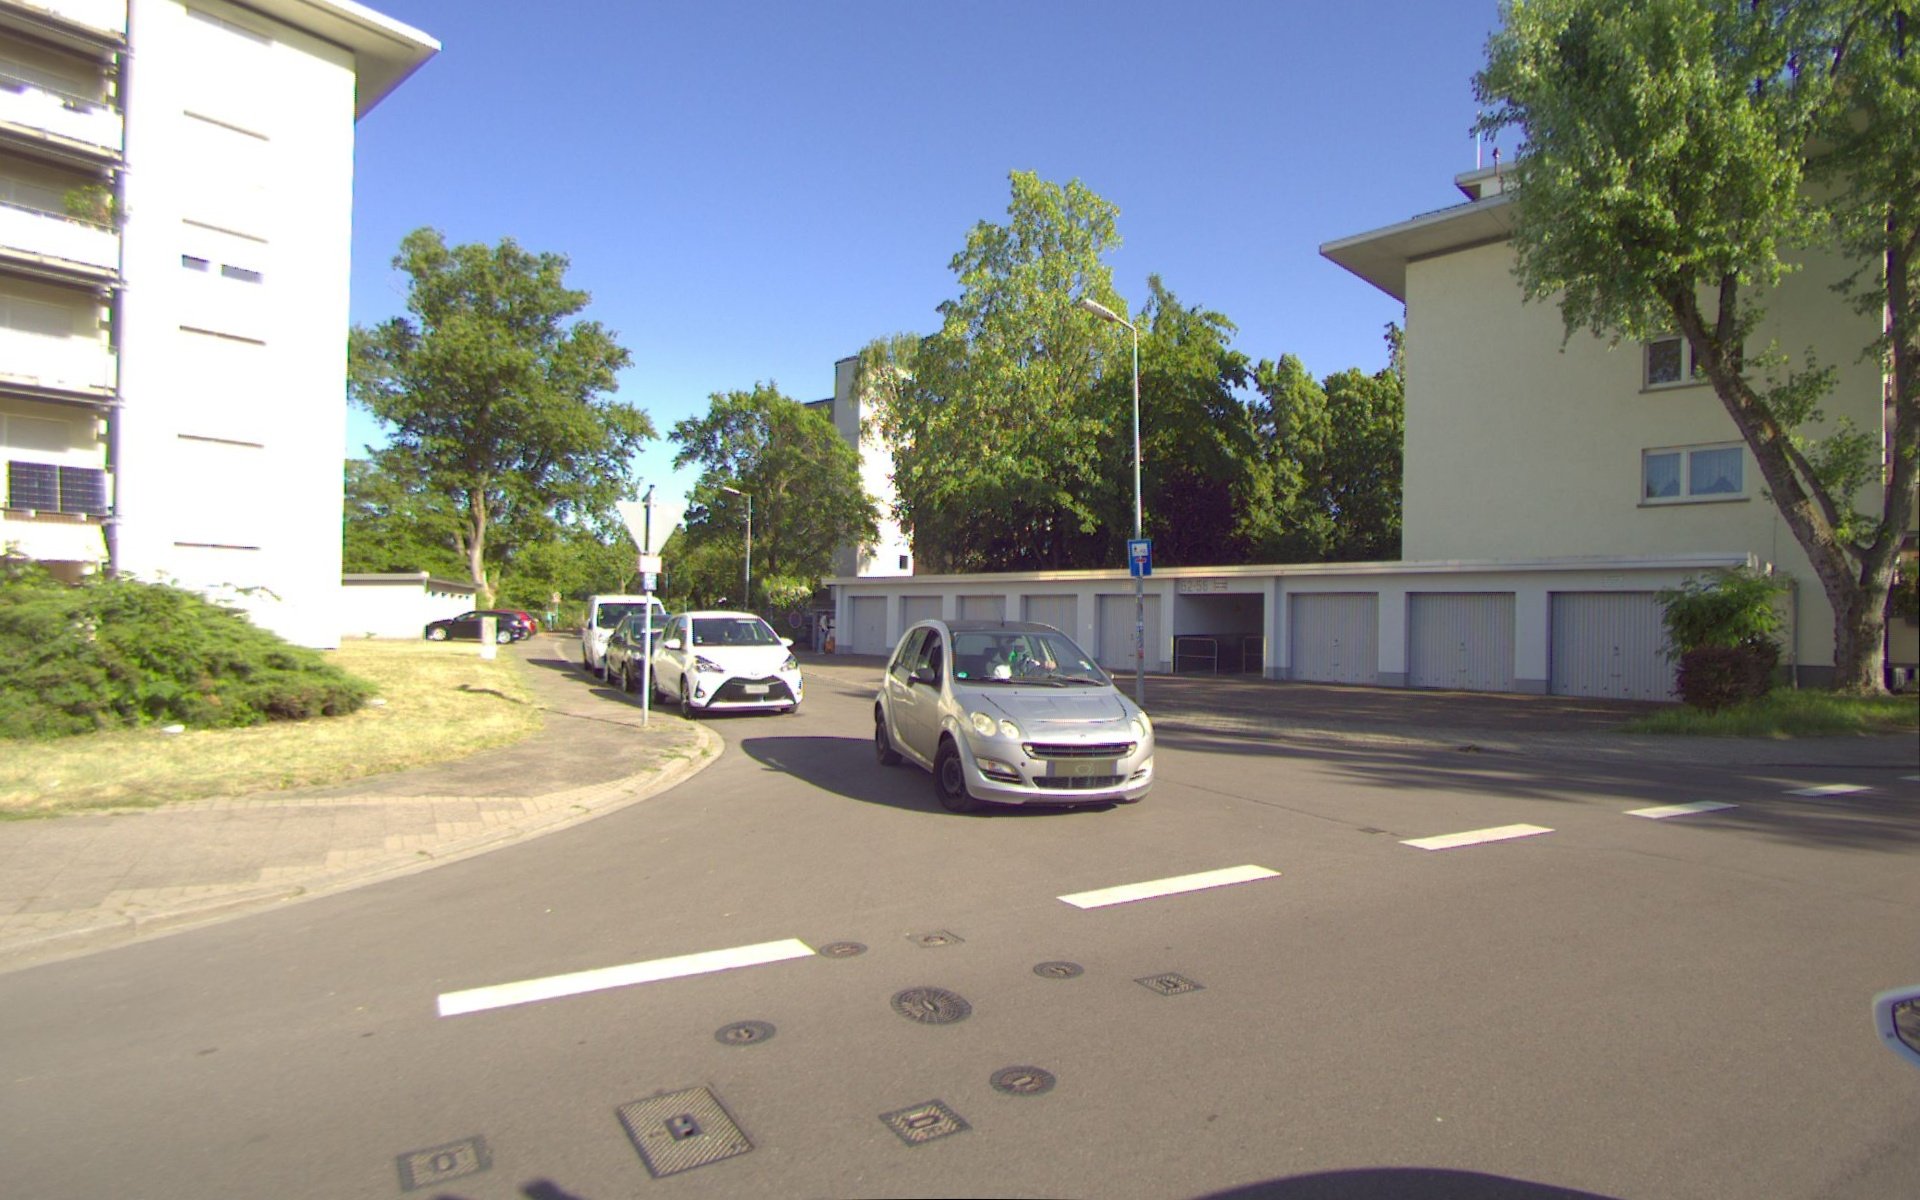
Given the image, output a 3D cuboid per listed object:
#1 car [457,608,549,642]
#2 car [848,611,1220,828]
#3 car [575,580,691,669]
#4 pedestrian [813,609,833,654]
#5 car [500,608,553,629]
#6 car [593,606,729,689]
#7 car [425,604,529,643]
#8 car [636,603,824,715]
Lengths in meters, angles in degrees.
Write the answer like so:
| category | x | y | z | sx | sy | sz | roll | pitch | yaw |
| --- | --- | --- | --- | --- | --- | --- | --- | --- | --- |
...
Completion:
| category | x | y | z | sx | sy | sz | roll | pitch | yaw |
| --- | --- | --- | --- | --- | --- | --- | --- | --- | --- |
| car | -22.520 | 1.234 | 49.491 | 3.952 | 1.617 | 1.985 | 2 | -1 | -29 |
| car | 0.384 | 0.883 | 9.053 | 1.967 | 1.480 | 3.925 | 2 | -2 | -19 |
| car | -8.272 | 0.598 | 25.052 | 2.206 | 1.977 | 5.092 | 2 | -1 | -24 |
| pedestrian | -5.193 | 1.185 | 38.065 | 0.528 | 1.676 | 0.553 | 1 | -1 | 18 |
| car | -35.003 | 1.515 | 81.071 | 4.102 | 1.601 | 1.994 | 0 | -1 | 35 |
| car | -6.166 | 0.916 | 20.355 | 2.016 | 1.480 | 4.429 | 2 | -2 | -25 |
| car | -20.948 | 1.029 | 43.607 | 3.952 | 1.617 | 1.985 | 2 | -1 | -29 |
| car | -3.684 | 0.850 | 15.525 | 2.016 | 1.483 | 3.975 | 2 | -2 | -25 |
